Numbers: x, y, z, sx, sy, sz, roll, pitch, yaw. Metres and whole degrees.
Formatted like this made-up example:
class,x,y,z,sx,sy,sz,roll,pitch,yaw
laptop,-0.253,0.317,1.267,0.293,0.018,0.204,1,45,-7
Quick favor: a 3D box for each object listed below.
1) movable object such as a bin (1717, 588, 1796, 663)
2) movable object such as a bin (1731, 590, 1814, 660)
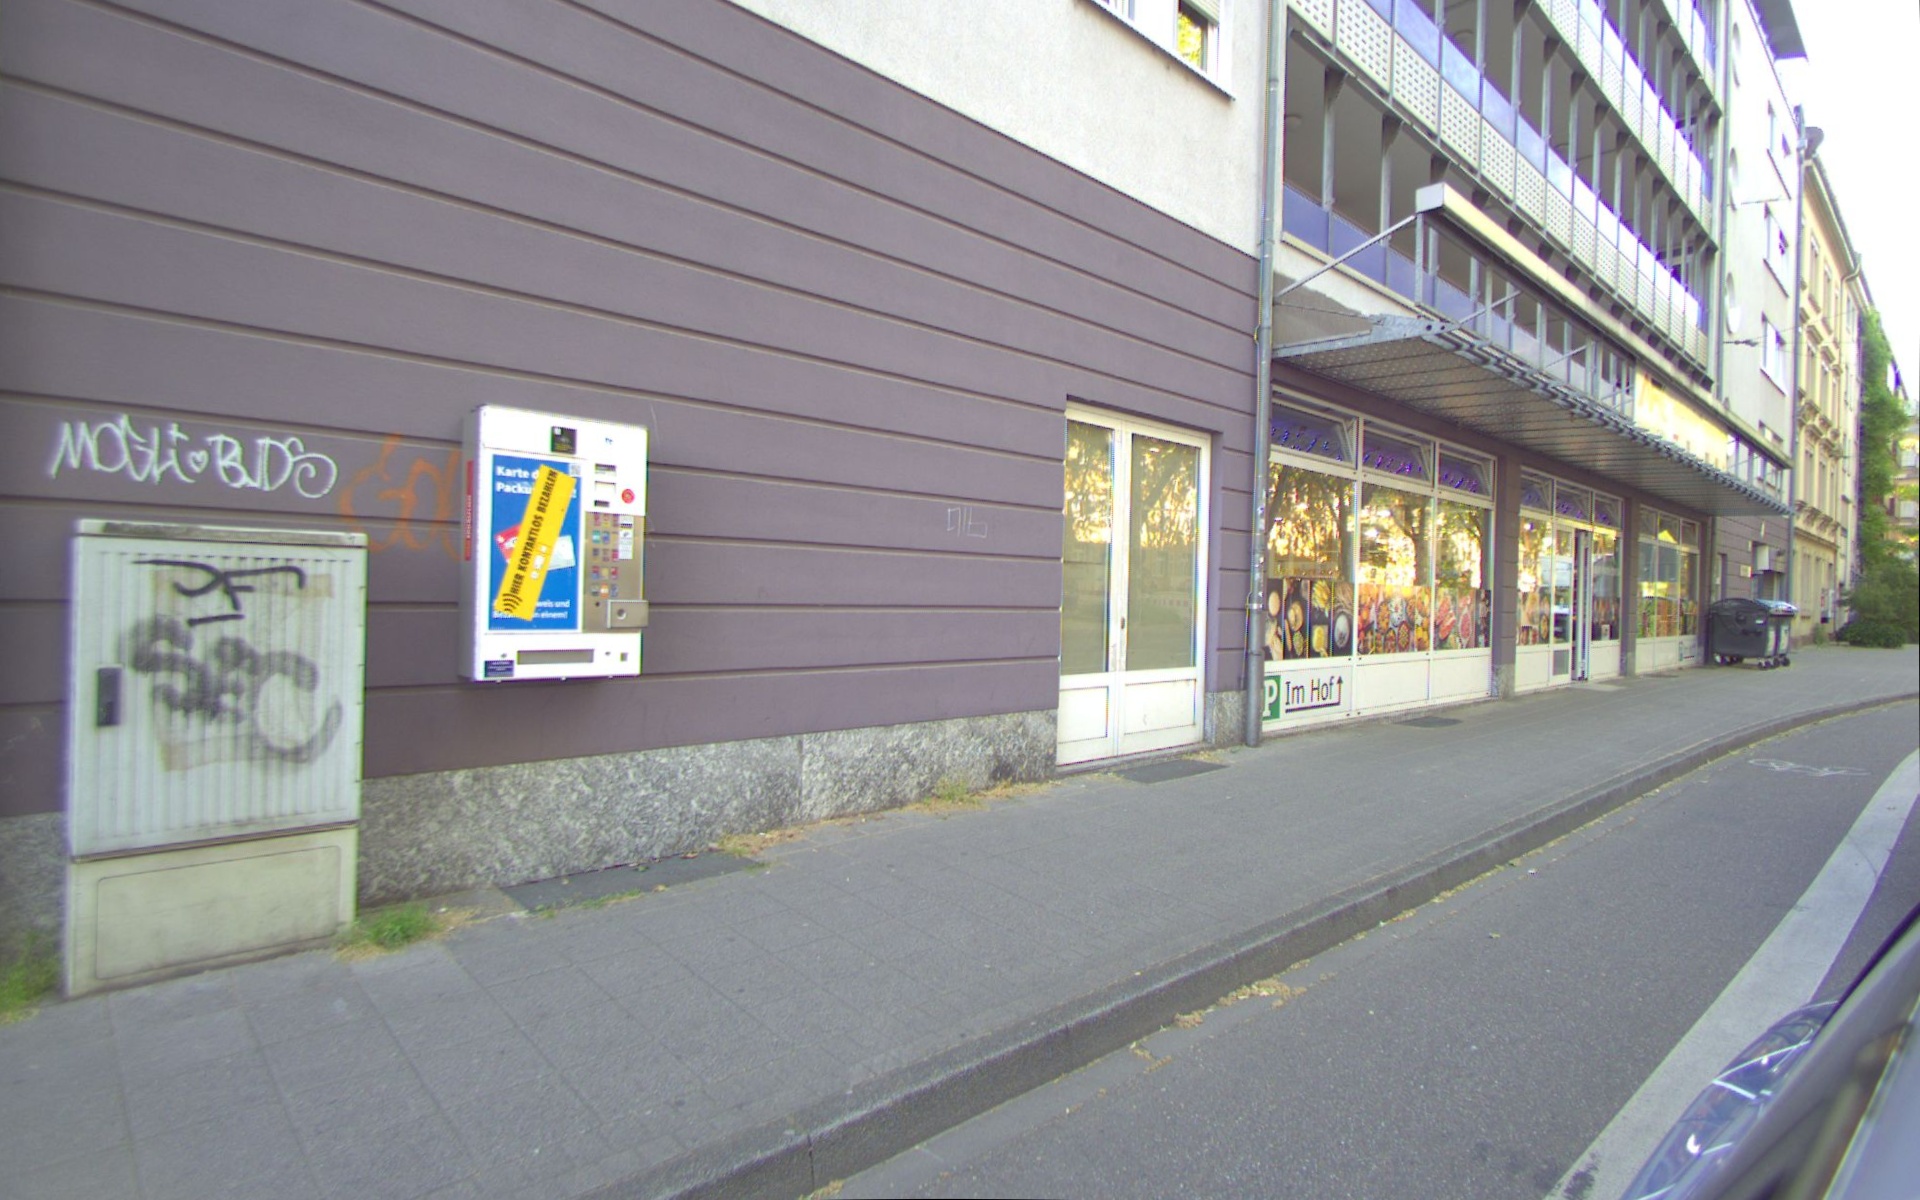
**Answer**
class,x,y,z,sx,sy,sz,roll,pitch,yaw
movable object such as a bin,16.438,0.503,20.878,1.274,1.465,1.068,1,1,-42
movable object such as a bin,17.787,0.524,22.165,1.282,1.464,1.123,1,1,-38
